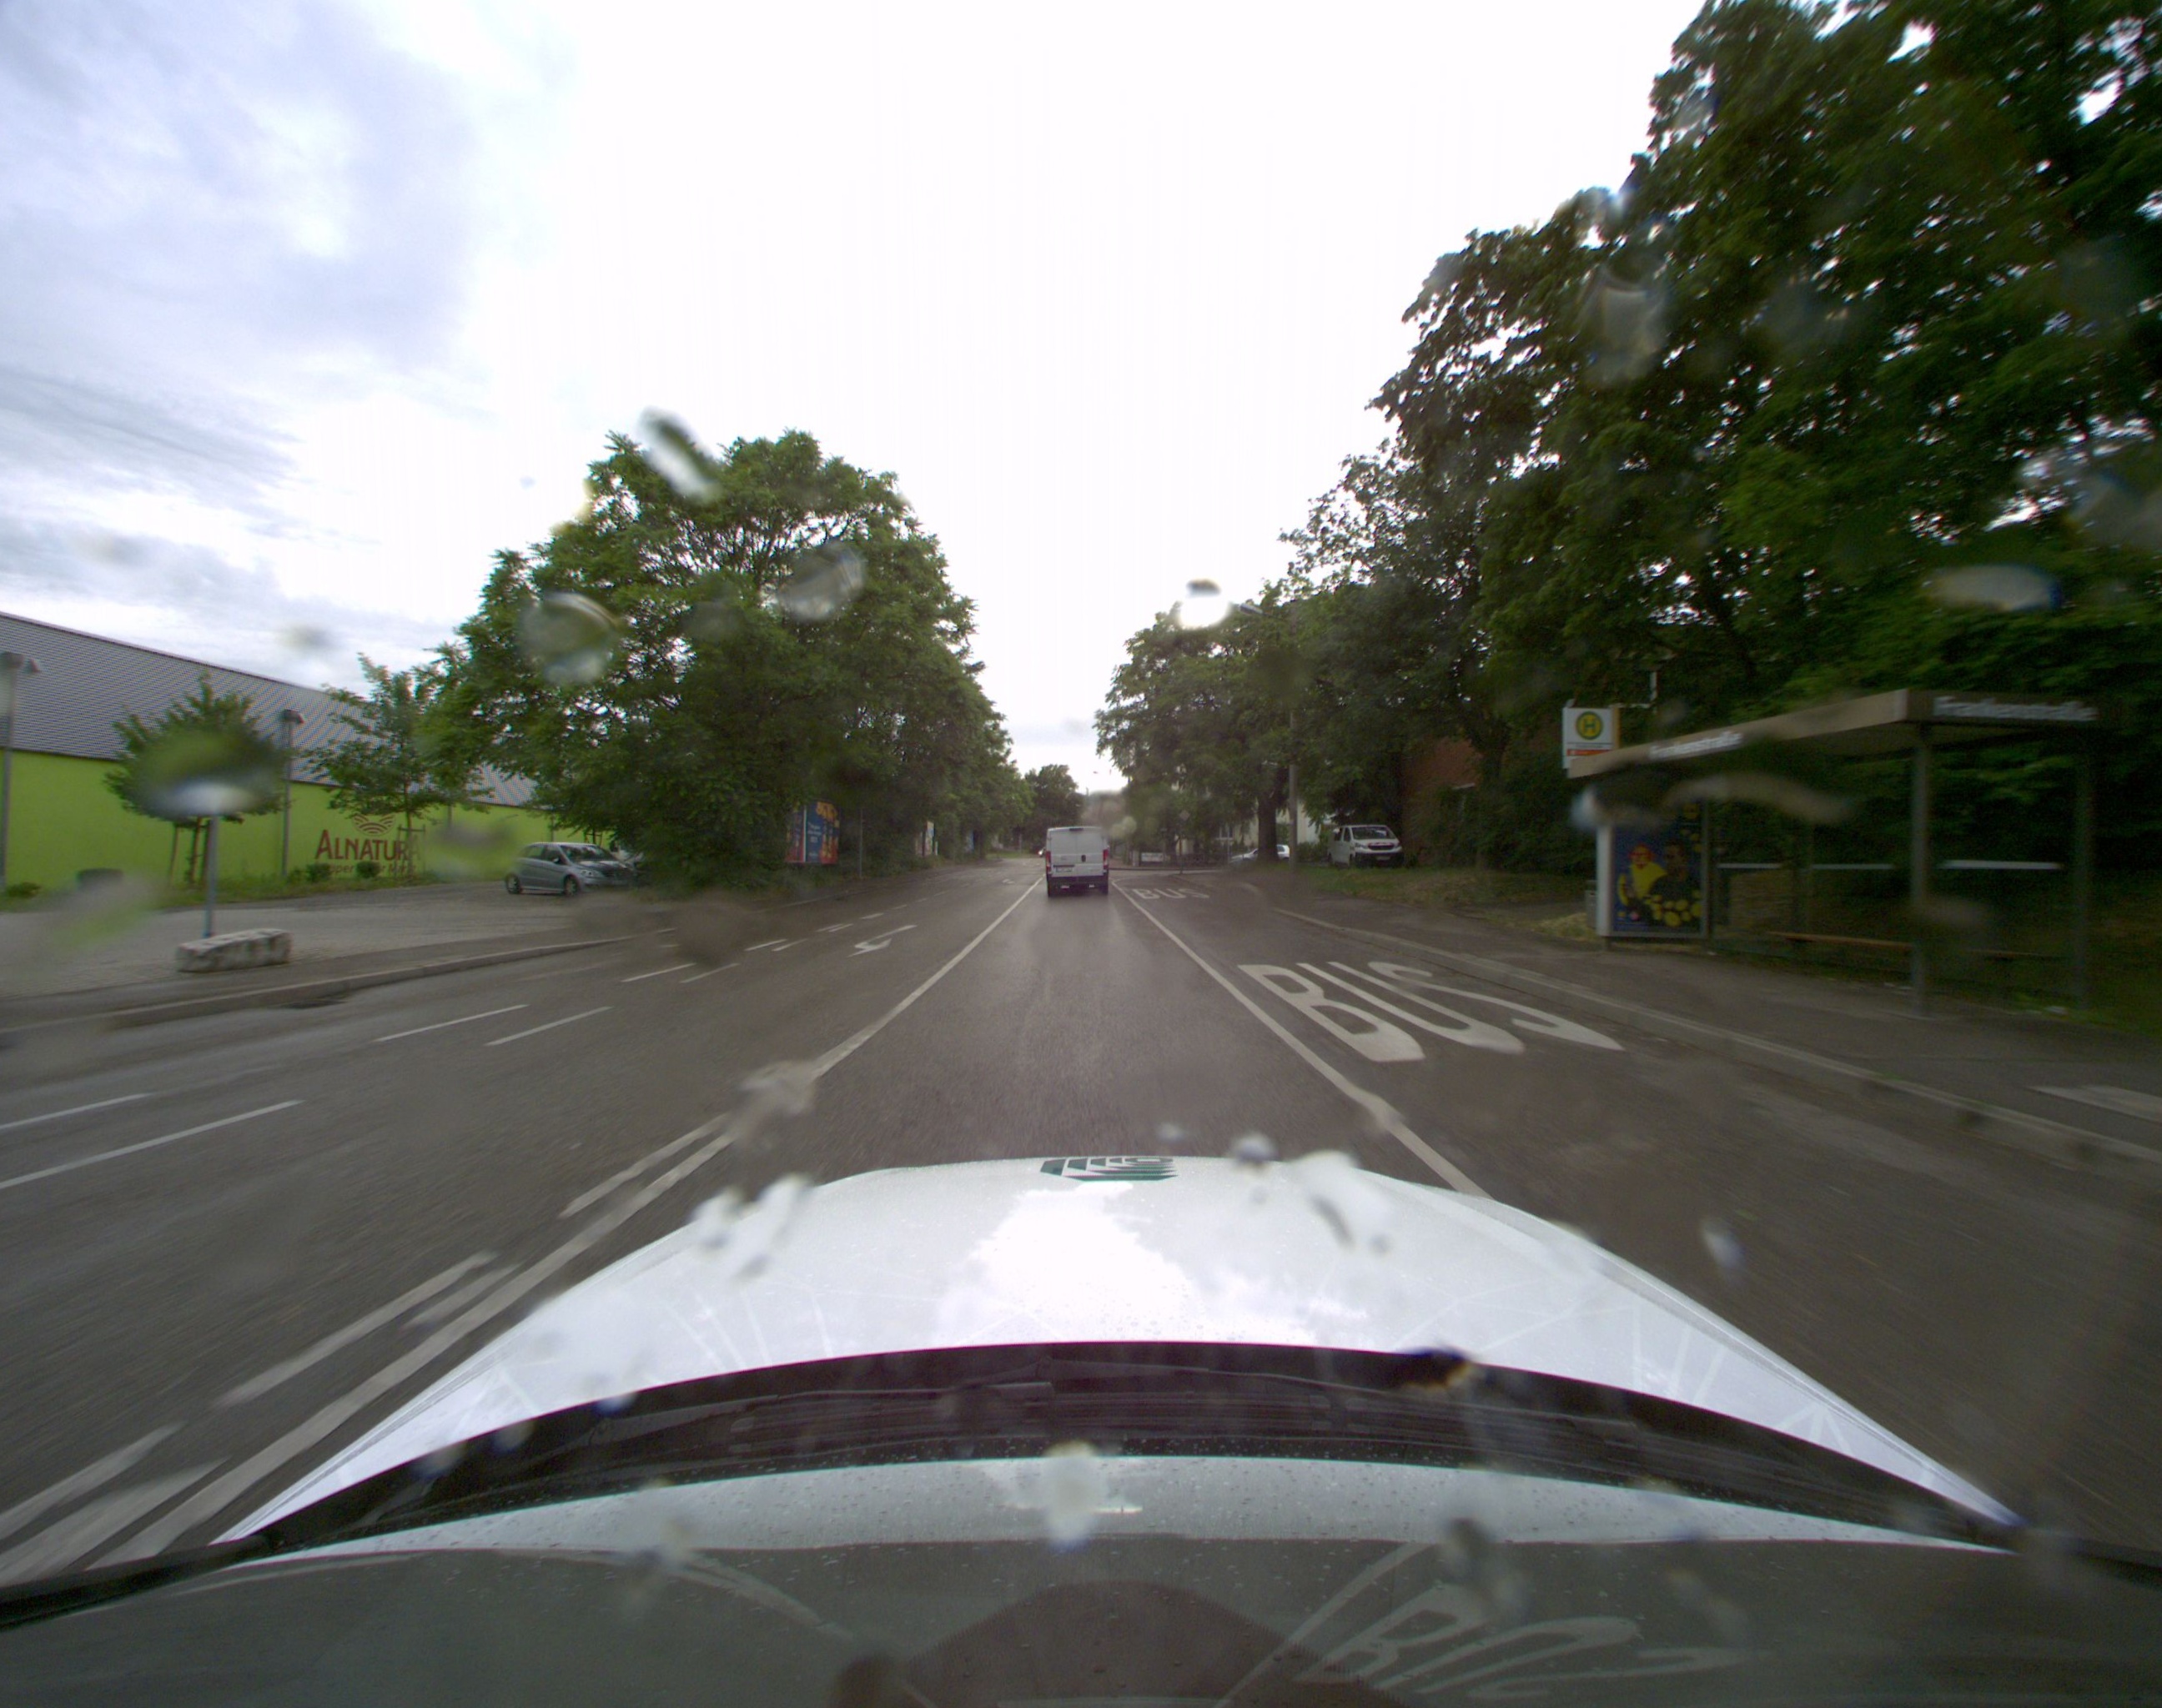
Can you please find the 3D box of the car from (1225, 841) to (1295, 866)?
[{"bbox_3d":[11.314,-0.023,51.516,3.979,1.423,1.702,-1,-1,-4],"label":"car"}]

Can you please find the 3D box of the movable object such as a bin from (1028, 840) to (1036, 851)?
[{"bbox_3d":[-7.642,-1.334,126.674,0.936,1.564,1.131,6,1,3],"label":"movable object such as a bin"}]

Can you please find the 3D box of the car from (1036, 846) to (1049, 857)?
[{"bbox_3d":[-5.360,-0.346,113.951,1.649,1.417,3.933,-2,1,-1],"label":"car"}]

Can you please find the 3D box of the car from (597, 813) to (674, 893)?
[{"bbox_3d":[-15.707,-0.099,28.681,2.119,2.532,5.553,1,1,-30],"label":"car"}]

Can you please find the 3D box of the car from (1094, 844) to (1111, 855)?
[{"bbox_3d":[3.241,-0.699,120.911,1.754,1.510,3.768,1,1,12],"label":"car"}]

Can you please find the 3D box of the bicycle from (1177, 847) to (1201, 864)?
[{"bbox_3d":[7.340,0.077,55.262,1.564,1.115,0.458,-1,0,2],"label":"bicycle"}]

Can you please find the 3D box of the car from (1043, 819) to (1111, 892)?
[{"bbox_3d":[-0.129,0.074,28.352,2.139,2.283,5.062,-1,0,0],"label":"car"}]

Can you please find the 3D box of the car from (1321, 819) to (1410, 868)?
[{"bbox_3d":[11.463,-0.419,33.235,1.986,1.805,5.150,2,0,2],"label":"car"}]

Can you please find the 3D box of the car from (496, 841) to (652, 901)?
[{"bbox_3d":[-15.025,0.447,24.143,4.075,1.542,2.012,2,1,25],"label":"car"}]
